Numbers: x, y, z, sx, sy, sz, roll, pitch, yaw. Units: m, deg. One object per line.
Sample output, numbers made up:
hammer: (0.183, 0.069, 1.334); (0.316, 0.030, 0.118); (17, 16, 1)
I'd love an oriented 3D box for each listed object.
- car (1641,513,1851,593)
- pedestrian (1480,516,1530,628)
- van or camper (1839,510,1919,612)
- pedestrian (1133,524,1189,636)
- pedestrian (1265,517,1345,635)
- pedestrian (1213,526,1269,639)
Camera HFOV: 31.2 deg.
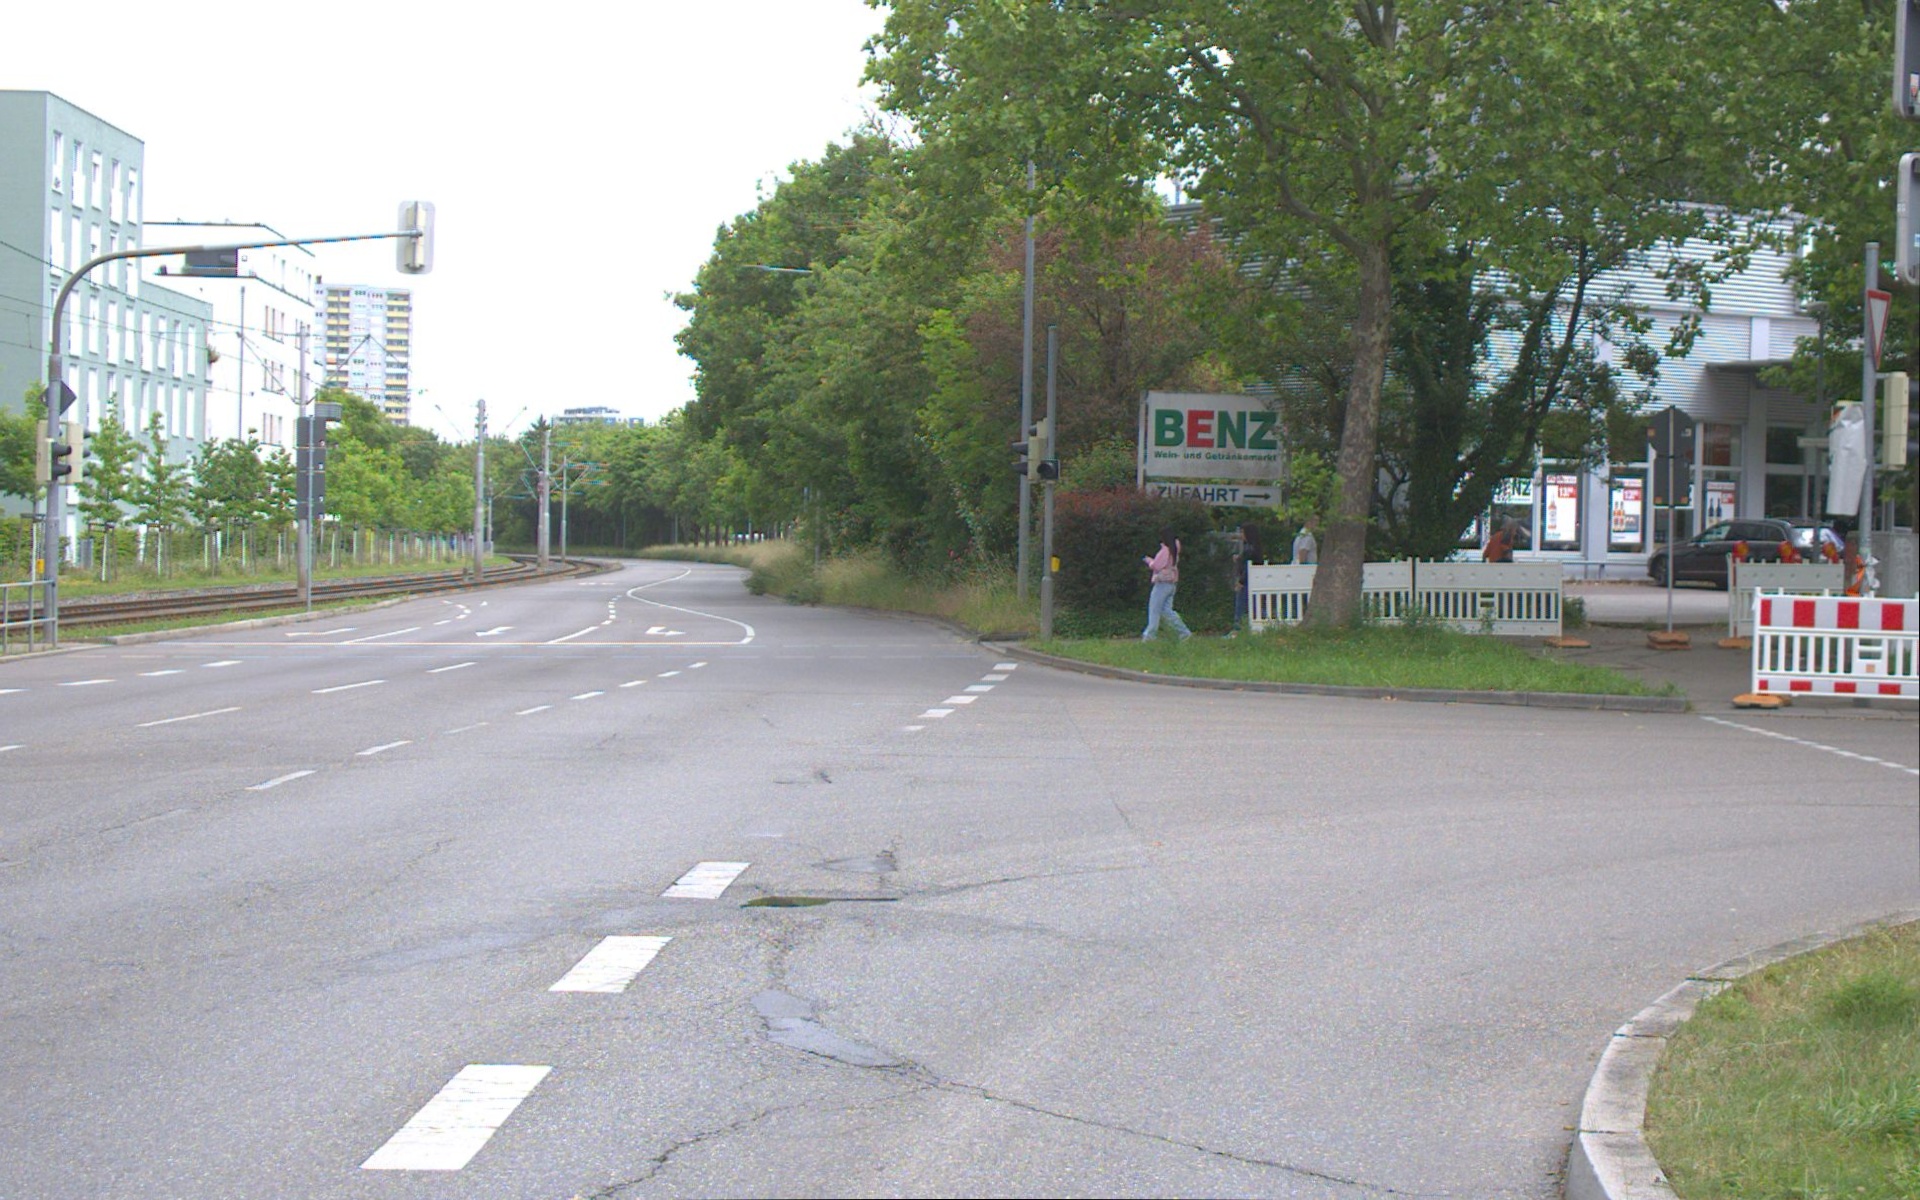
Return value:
car: (15.455, -0.916, 67.778); (1.728, 1.495, 4.269); (1, 0, -26)
pedestrian: (7.553, -0.384, 47.705); (0.653, 1.533, 0.772); (1, 0, 8)
van or camper: (16.706, -0.649, 57.240); (1.840, 1.678, 4.001); (0, 1, -27)
pedestrian: (2.688, -0.266, 45.901); (0.697, 1.484, 0.688); (1, 0, 6)
pedestrian: (4.712, -0.326, 46.980); (0.848, 1.581, 0.796); (1, 0, -15)
pedestrian: (3.753, -0.238, 45.925); (0.697, 1.484, 0.720); (1, 0, 7)
